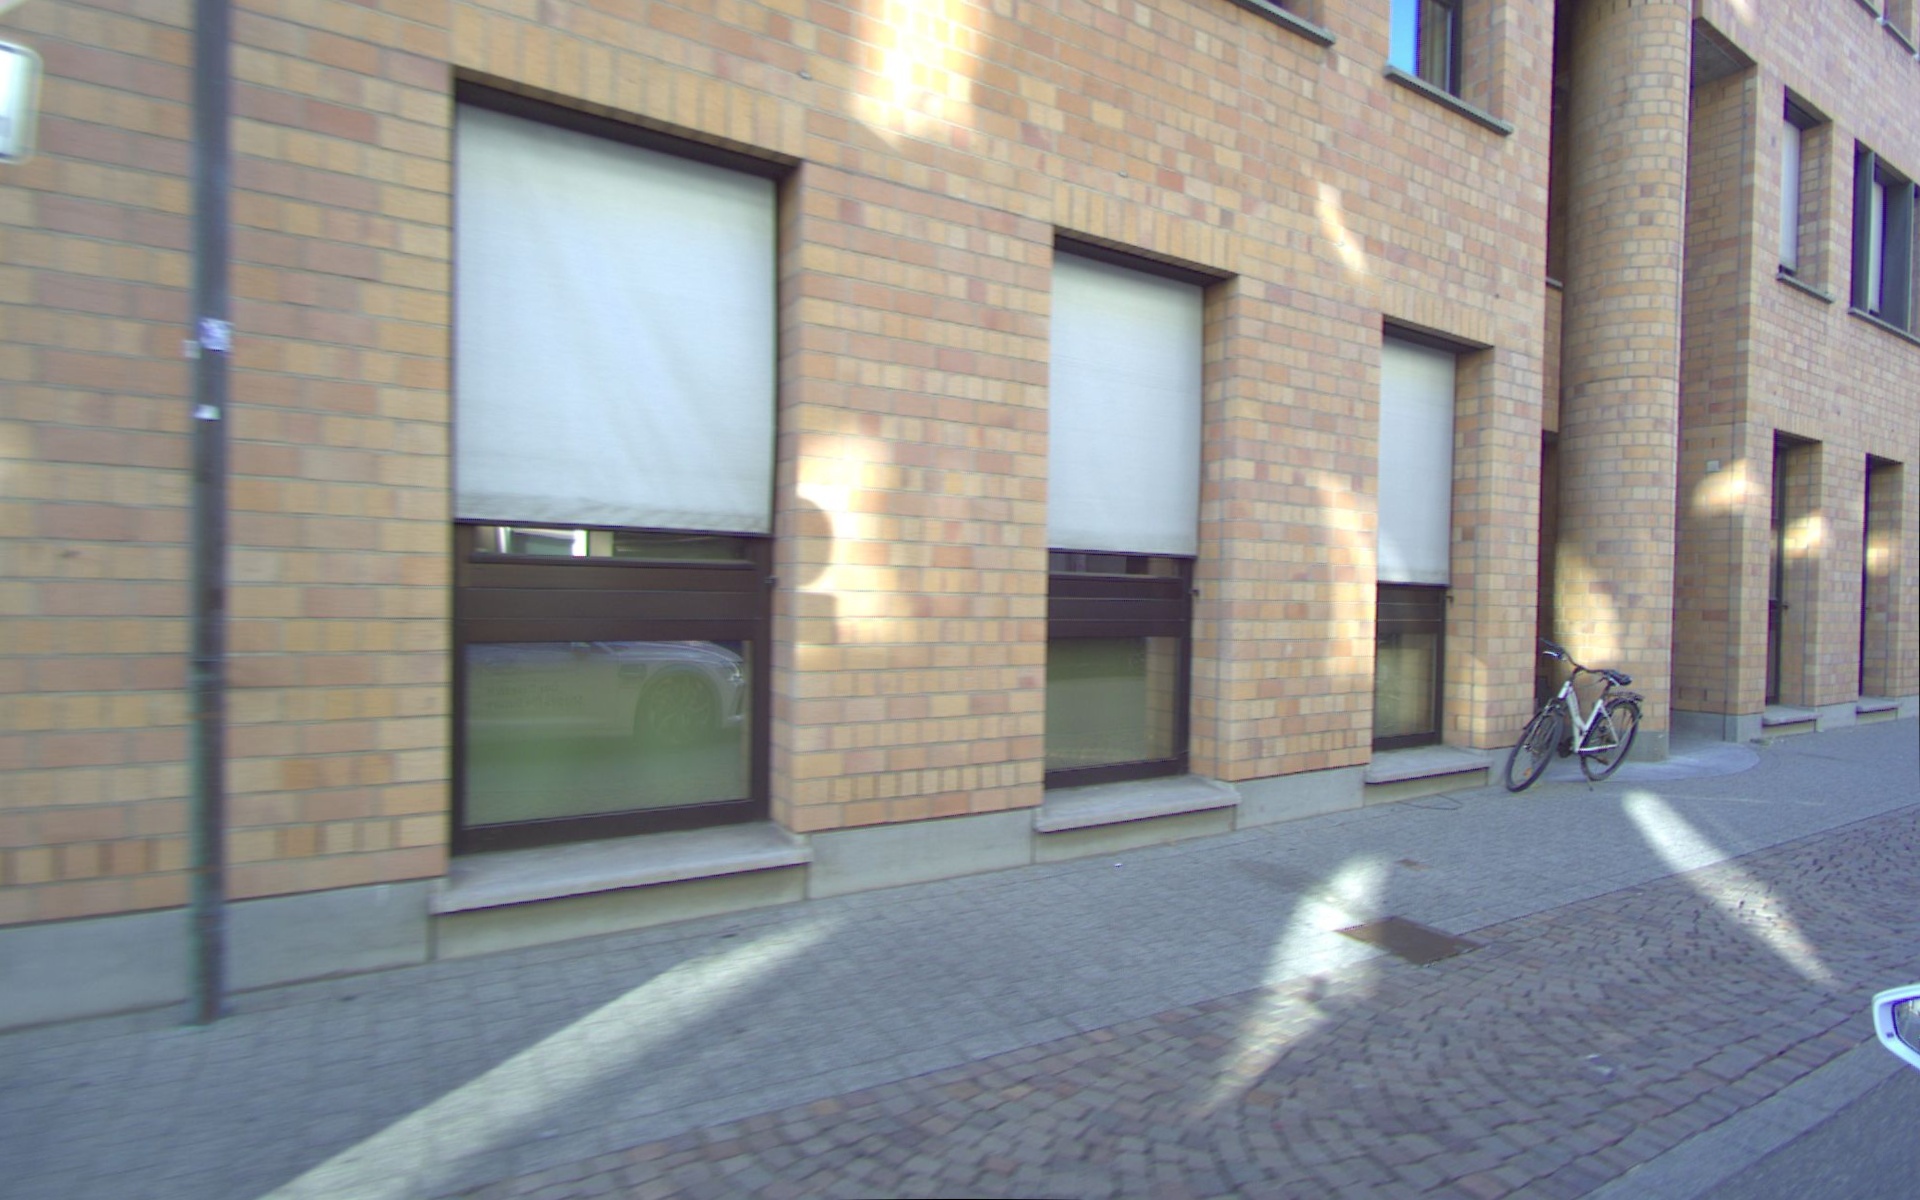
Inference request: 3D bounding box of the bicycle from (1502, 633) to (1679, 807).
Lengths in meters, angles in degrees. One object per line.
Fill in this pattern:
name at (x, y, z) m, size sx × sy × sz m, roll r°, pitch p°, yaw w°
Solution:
bicycle at (5.094, 0.896, 8.077) m, size 1.789 × 1.178 × 0.626 m, roll 0°, pitch 4°, yaw -40°
